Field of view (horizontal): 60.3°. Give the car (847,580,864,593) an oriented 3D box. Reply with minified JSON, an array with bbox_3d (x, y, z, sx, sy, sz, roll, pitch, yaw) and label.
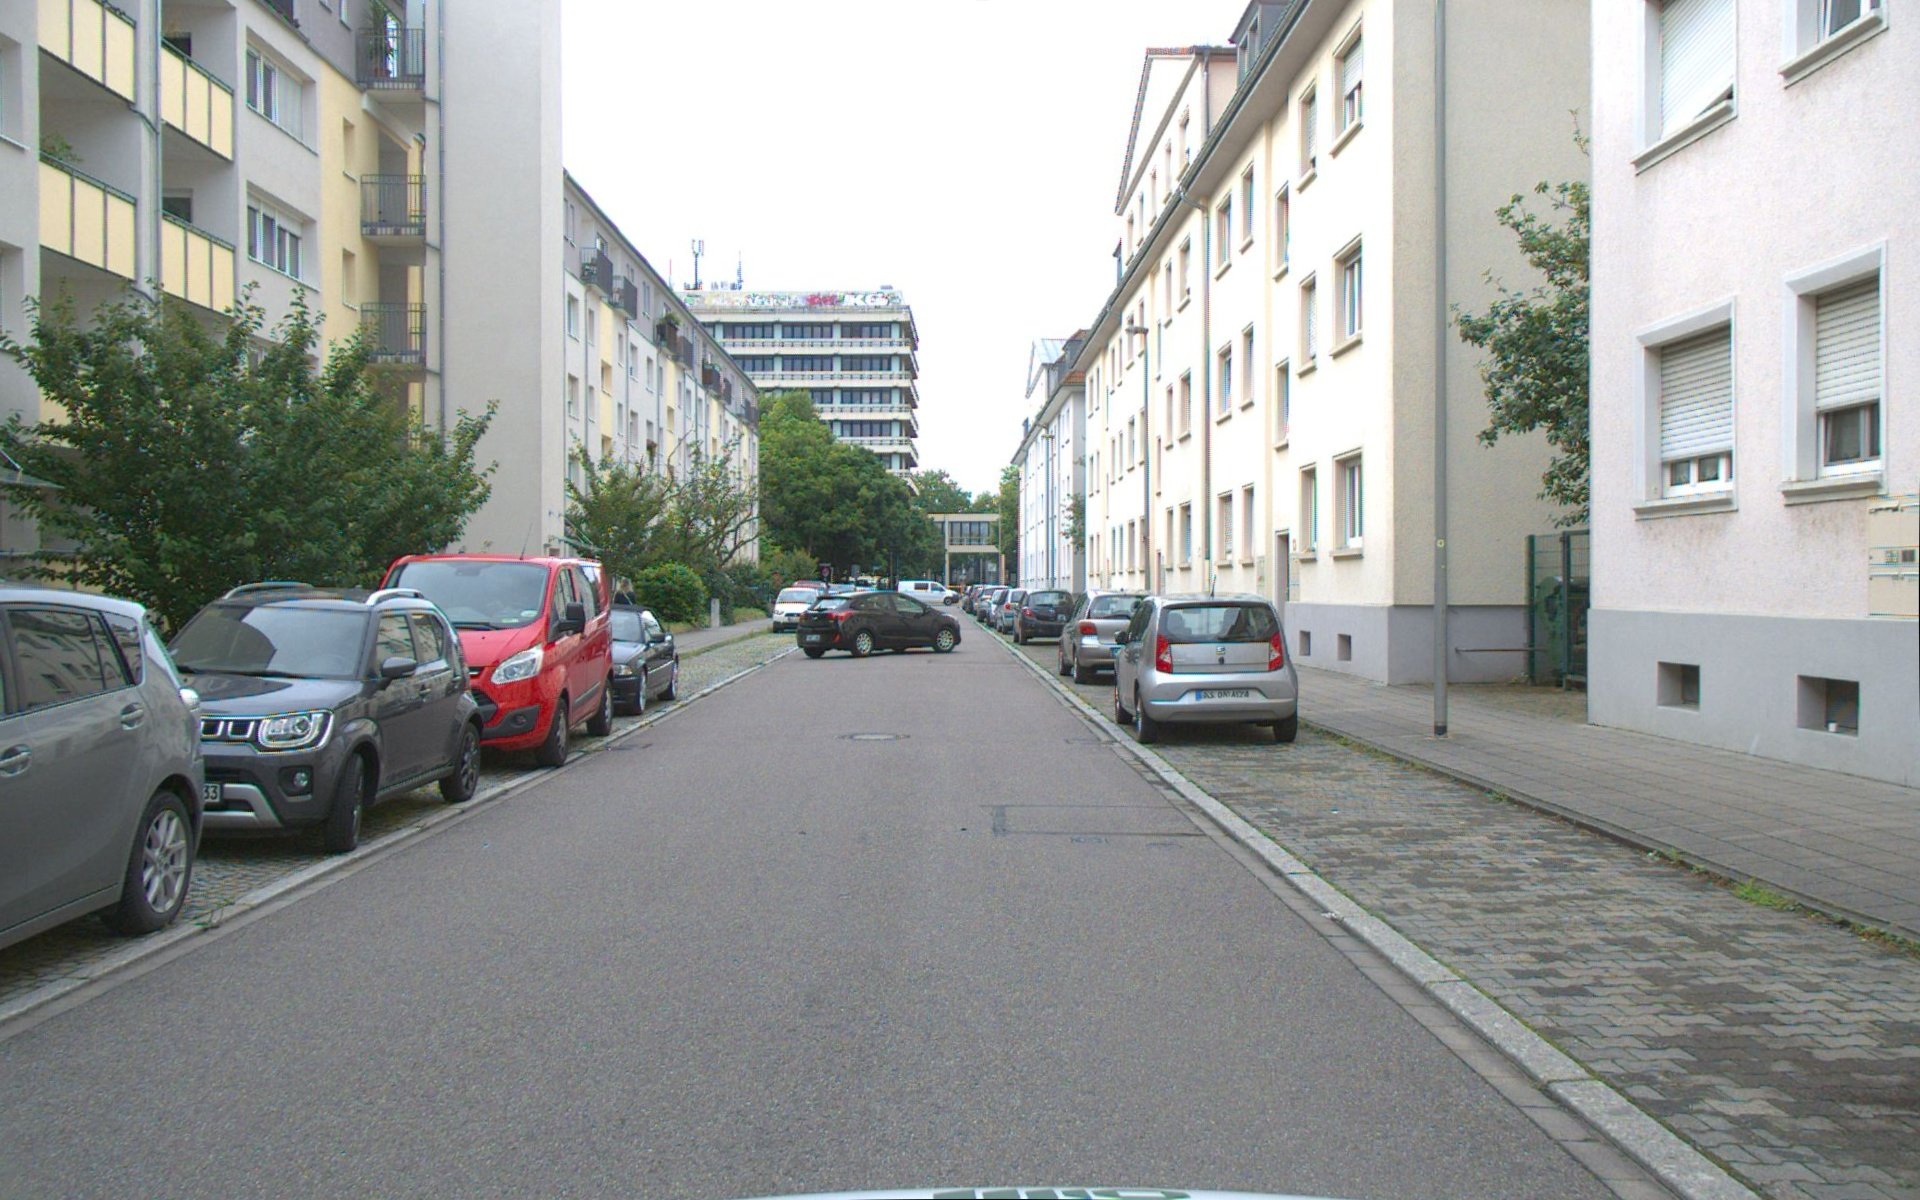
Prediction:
[{"bbox_3d":[-11.199,-1.498,176.755,1.632,1.356,3.395,0,1,-1],"label":"car"}]

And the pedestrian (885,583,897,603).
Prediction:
[{"bbox_3d":[-5.652,-0.575,135.899,0.952,1.683,0.980,-1,0,-2],"label":"pedestrian"}]

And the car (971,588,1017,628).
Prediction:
[{"bbox_3d":[1.310,0.292,65.786,1.690,1.502,4.504,1,1,-1],"label":"car"}]

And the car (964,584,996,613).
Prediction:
[{"bbox_3d":[1.130,-0.113,95.501,1.783,1.631,4.091,0,0,0],"label":"car"}]

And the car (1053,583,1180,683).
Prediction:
[{"bbox_3d":[2.582,0.500,28.132,1.690,1.544,4.060,-1,1,-1],"label":"car"}]

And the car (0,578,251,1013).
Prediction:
[{"bbox_3d":[-4.464,0.720,6.092,1.798,1.597,4.859,2,0,-3],"label":"car"}]

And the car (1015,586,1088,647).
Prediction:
[{"bbox_3d":[2.451,0.412,45.135,1.690,1.544,4.060,-1,1,-1],"label":"car"}]

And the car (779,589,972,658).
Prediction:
[{"bbox_3d":[-1.869,0.496,37.498,4.199,1.458,1.879,-1,1,-43],"label":"car"}]

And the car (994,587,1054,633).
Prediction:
[{"bbox_3d":[2.117,0.309,55.373,1.811,1.475,3.832,0,0,-1],"label":"car"}]

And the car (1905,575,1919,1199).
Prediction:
[{"bbox_3d":[3.054,0.703,1.675,1.690,1.494,4.263,0,0,-1],"label":"car"}]

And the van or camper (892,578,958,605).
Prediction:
[{"bbox_3d":[-2.762,-0.657,129.919,5.070,2.049,1.998,0,0,-5],"label":"van or camper"}]

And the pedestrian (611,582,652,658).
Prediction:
[{"bbox_3d":[-7.208,0.427,36.356,0.784,1.638,0.946,0,0,-6],"label":"pedestrian"}]

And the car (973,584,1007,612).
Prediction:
[{"bbox_3d":[1.630,-0.126,90.763,1.783,1.529,4.091,0,0,0],"label":"car"}]

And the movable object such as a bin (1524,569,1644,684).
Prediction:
[{"bbox_3d":[8.232,0.332,21.874,1.138,1.469,1.149,0,0,-1],"label":"movable object such as a bin"}]

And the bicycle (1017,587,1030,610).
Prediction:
[{"bbox_3d":[3.421,-0.080,89.104,0.564,1.196,2.038,-1,1,5],"label":"bicycle"}]

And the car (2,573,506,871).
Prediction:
[{"bbox_3d":[-4.459,0.659,11.180,1.686,1.597,4.053,2,0,-1],"label":"car"}]

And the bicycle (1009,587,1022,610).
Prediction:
[{"bbox_3d":[2.996,-0.086,89.131,0.519,1.196,2.038,-1,1,5],"label":"bicycle"}]

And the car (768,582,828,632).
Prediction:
[{"bbox_3d":[-5.570,0.217,57.175,1.686,1.597,3.869,2,0,-1],"label":"car"}]

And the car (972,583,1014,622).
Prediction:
[{"bbox_3d":[1.450,0.102,74.446,1.783,1.671,4.091,0,0,0],"label":"car"}]

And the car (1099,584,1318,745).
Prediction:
[{"bbox_3d":[2.574,0.604,18.025,1.690,1.518,4.060,-1,1,-1],"label":"car"}]

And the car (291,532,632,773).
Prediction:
[{"bbox_3d":[-4.729,0.429,16.555,2.108,1.988,4.919,2,0,-3],"label":"car"}]

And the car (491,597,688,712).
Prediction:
[{"bbox_3d":[-4.936,0.675,22.611,1.832,1.346,4.360,1,0,-2],"label":"car"}]
